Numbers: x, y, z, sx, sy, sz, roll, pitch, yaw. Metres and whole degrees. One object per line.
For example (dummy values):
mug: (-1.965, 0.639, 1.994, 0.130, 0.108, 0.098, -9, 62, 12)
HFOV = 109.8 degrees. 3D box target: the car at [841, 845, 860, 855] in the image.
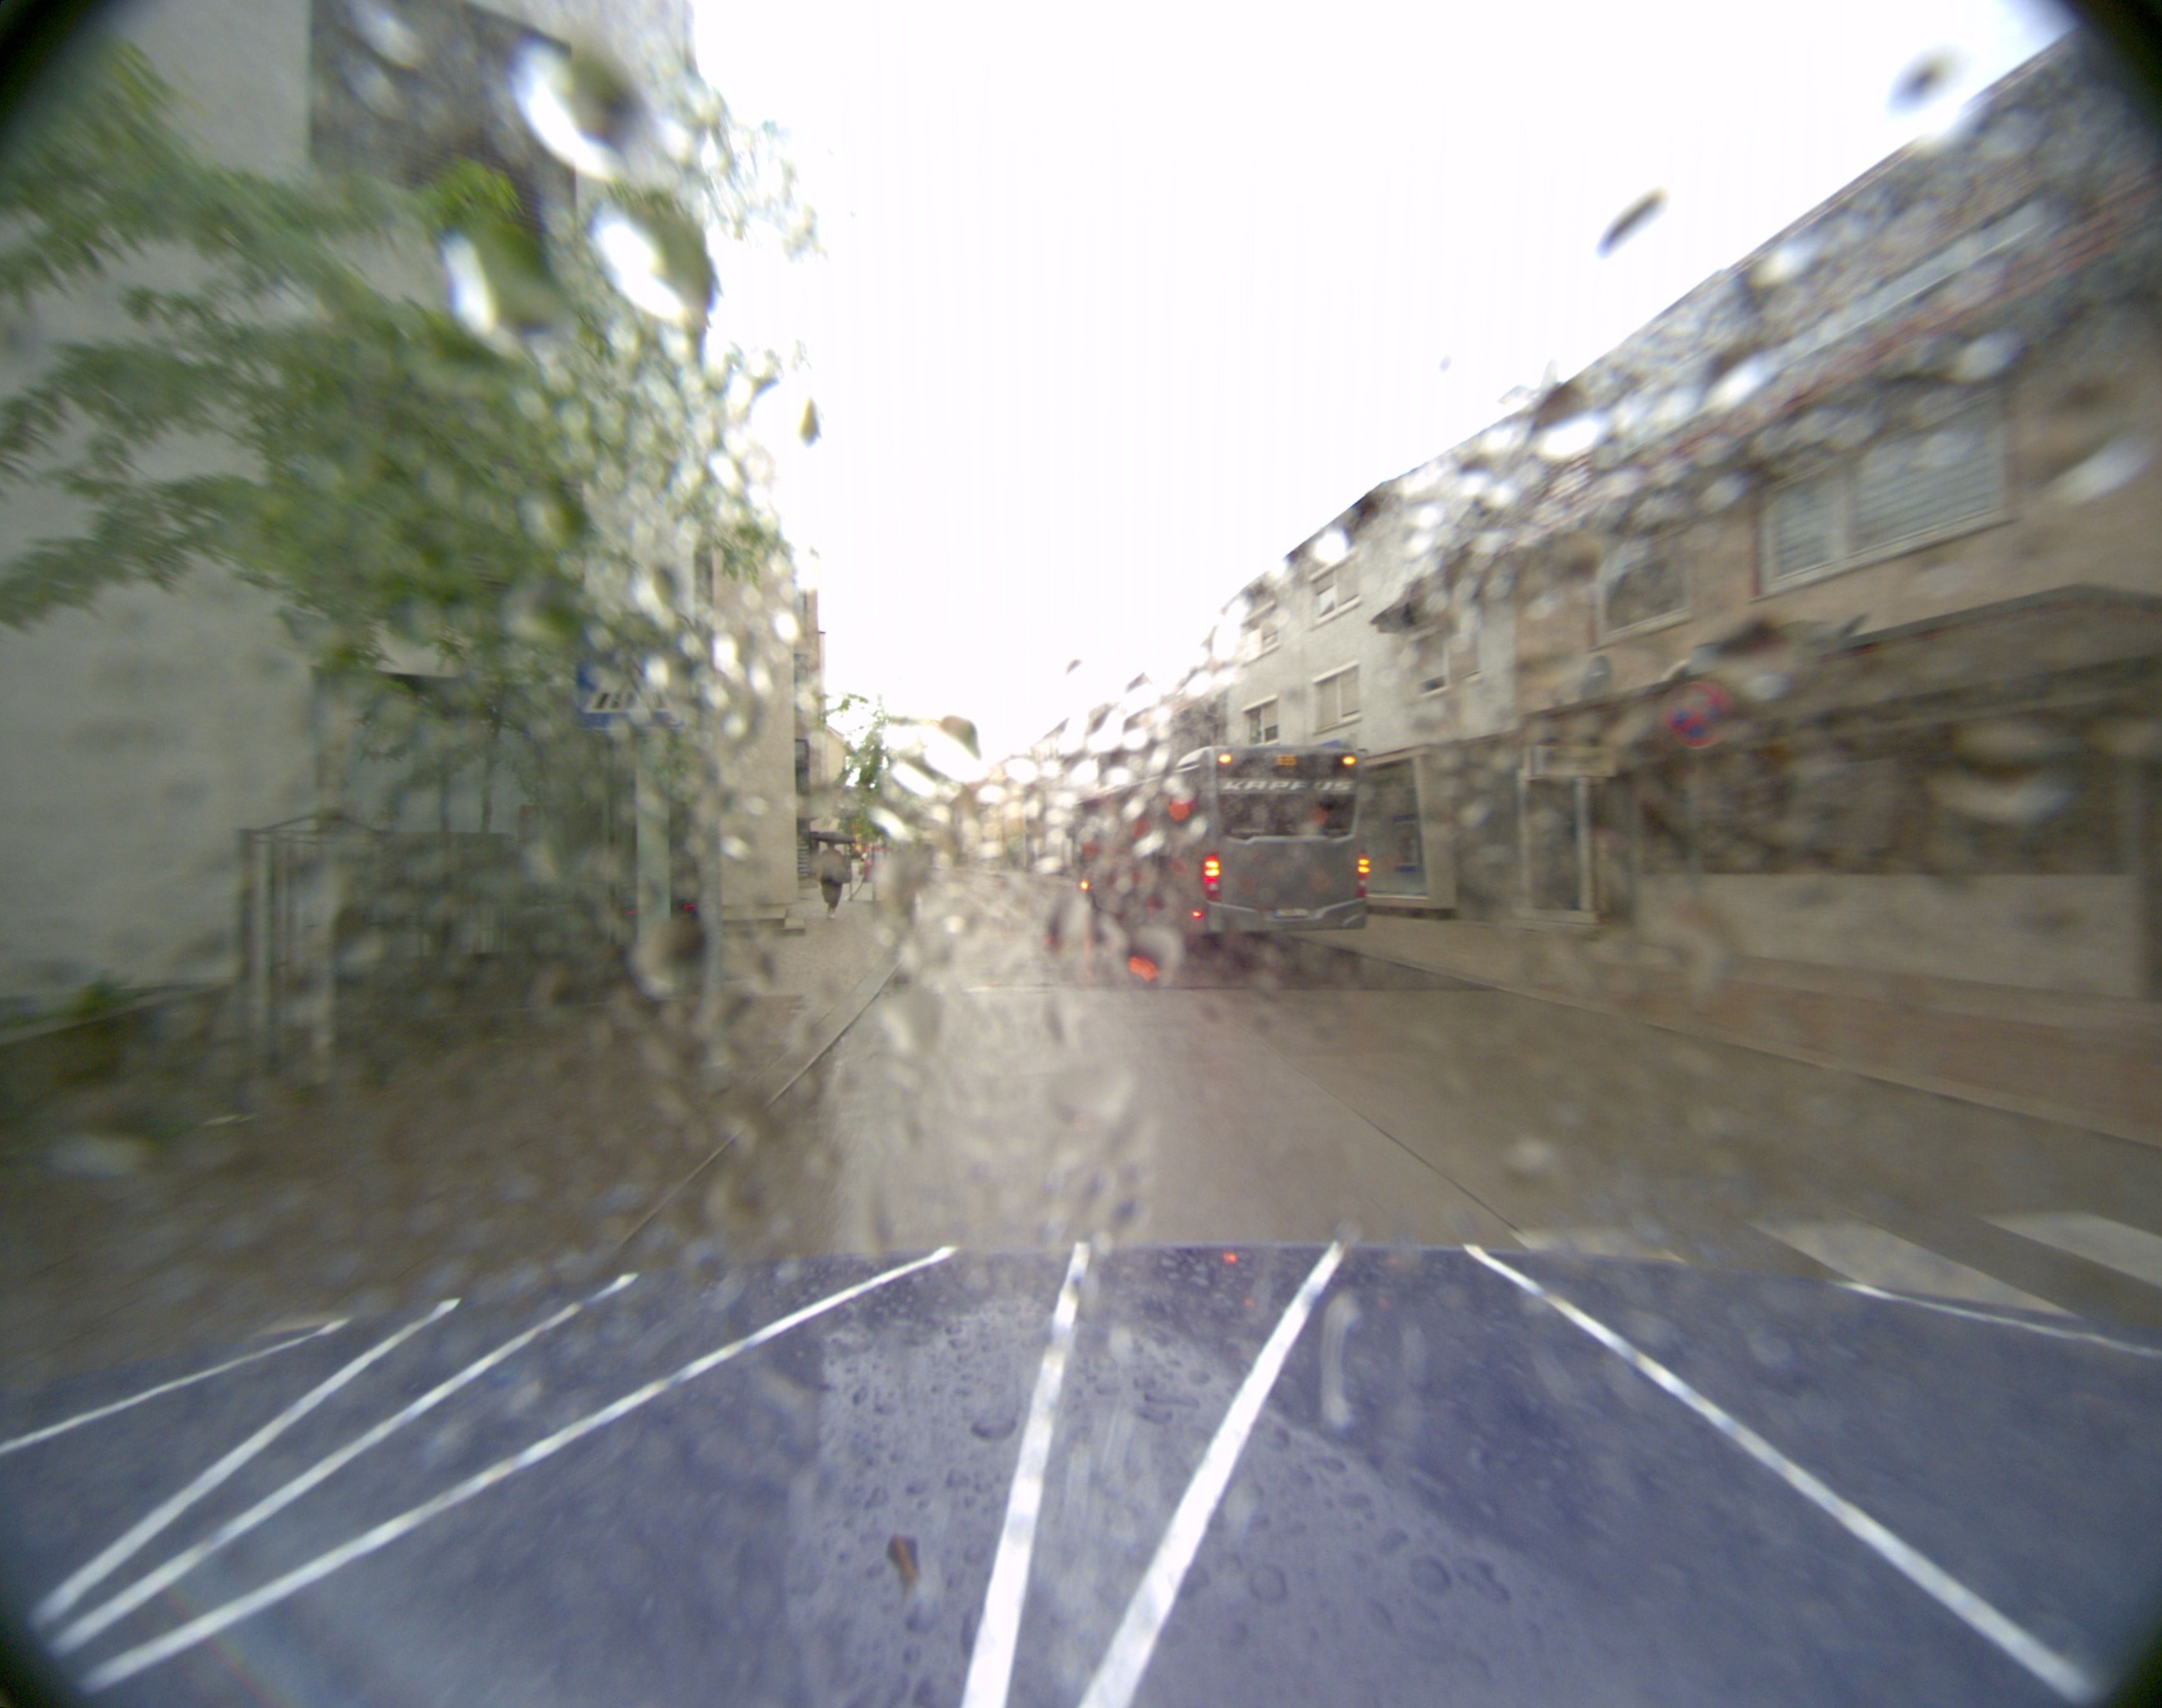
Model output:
car: (-35.180, -0.617, 115.837, 2.003, 1.438, 3.990, -2, 2, -29)

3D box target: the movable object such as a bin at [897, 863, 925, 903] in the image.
movable object such as a bin: (-5.100, 0.876, 22.782, 0.754, 1.164, 0.630, 0, 1, -7)

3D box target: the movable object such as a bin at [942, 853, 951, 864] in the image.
movable object such as a bin: (-12.813, 0.443, 72.325, 0.716, 1.053, 0.575, -2, 2, -20)

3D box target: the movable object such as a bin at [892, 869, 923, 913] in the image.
movable object such as a bin: (-4.533, 0.957, 19.858, 0.726, 1.111, 0.576, -1, 1, -10)

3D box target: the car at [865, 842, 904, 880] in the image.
car: (-10.416, 0.323, 40.289, 1.843, 1.896, 4.597, 1, 1, -15)

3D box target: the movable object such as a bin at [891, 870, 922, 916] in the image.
movable object such as a bin: (-4.414, 0.971, 19.258, 0.726, 1.111, 0.576, -1, 1, -10)

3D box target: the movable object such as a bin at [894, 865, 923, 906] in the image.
movable object such as a bin: (-5.013, 0.900, 22.123, 0.754, 1.164, 0.630, 0, 1, -7)

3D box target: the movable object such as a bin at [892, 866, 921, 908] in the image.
movable object such as a bin: (-4.927, 0.927, 21.469, 0.754, 1.164, 0.630, 0, 1, -7)

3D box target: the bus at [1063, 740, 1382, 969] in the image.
bus: (1.866, -0.061, 15.794, 2.733, 3.062, 10.934, -2, 1, -10)

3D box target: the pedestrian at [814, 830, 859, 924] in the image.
pedestrian: (-5.460, 0.480, 17.025, 0.870, 2.002, 1.081, -2, 2, -16)

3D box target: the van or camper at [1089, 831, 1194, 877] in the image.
van or camper: (3.200, -0.037, 40.548, 5.042, 1.923, 1.997, -6, 3, -15)

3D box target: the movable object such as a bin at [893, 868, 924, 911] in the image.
movable object such as a bin: (-4.645, 0.942, 20.474, 0.764, 1.111, 0.623, -1, 1, -10)

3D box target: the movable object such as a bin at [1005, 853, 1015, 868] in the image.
movable object such as a bin: (-5.625, 0.522, 60.366, 0.660, 1.102, 0.720, 2, 1, -13)
